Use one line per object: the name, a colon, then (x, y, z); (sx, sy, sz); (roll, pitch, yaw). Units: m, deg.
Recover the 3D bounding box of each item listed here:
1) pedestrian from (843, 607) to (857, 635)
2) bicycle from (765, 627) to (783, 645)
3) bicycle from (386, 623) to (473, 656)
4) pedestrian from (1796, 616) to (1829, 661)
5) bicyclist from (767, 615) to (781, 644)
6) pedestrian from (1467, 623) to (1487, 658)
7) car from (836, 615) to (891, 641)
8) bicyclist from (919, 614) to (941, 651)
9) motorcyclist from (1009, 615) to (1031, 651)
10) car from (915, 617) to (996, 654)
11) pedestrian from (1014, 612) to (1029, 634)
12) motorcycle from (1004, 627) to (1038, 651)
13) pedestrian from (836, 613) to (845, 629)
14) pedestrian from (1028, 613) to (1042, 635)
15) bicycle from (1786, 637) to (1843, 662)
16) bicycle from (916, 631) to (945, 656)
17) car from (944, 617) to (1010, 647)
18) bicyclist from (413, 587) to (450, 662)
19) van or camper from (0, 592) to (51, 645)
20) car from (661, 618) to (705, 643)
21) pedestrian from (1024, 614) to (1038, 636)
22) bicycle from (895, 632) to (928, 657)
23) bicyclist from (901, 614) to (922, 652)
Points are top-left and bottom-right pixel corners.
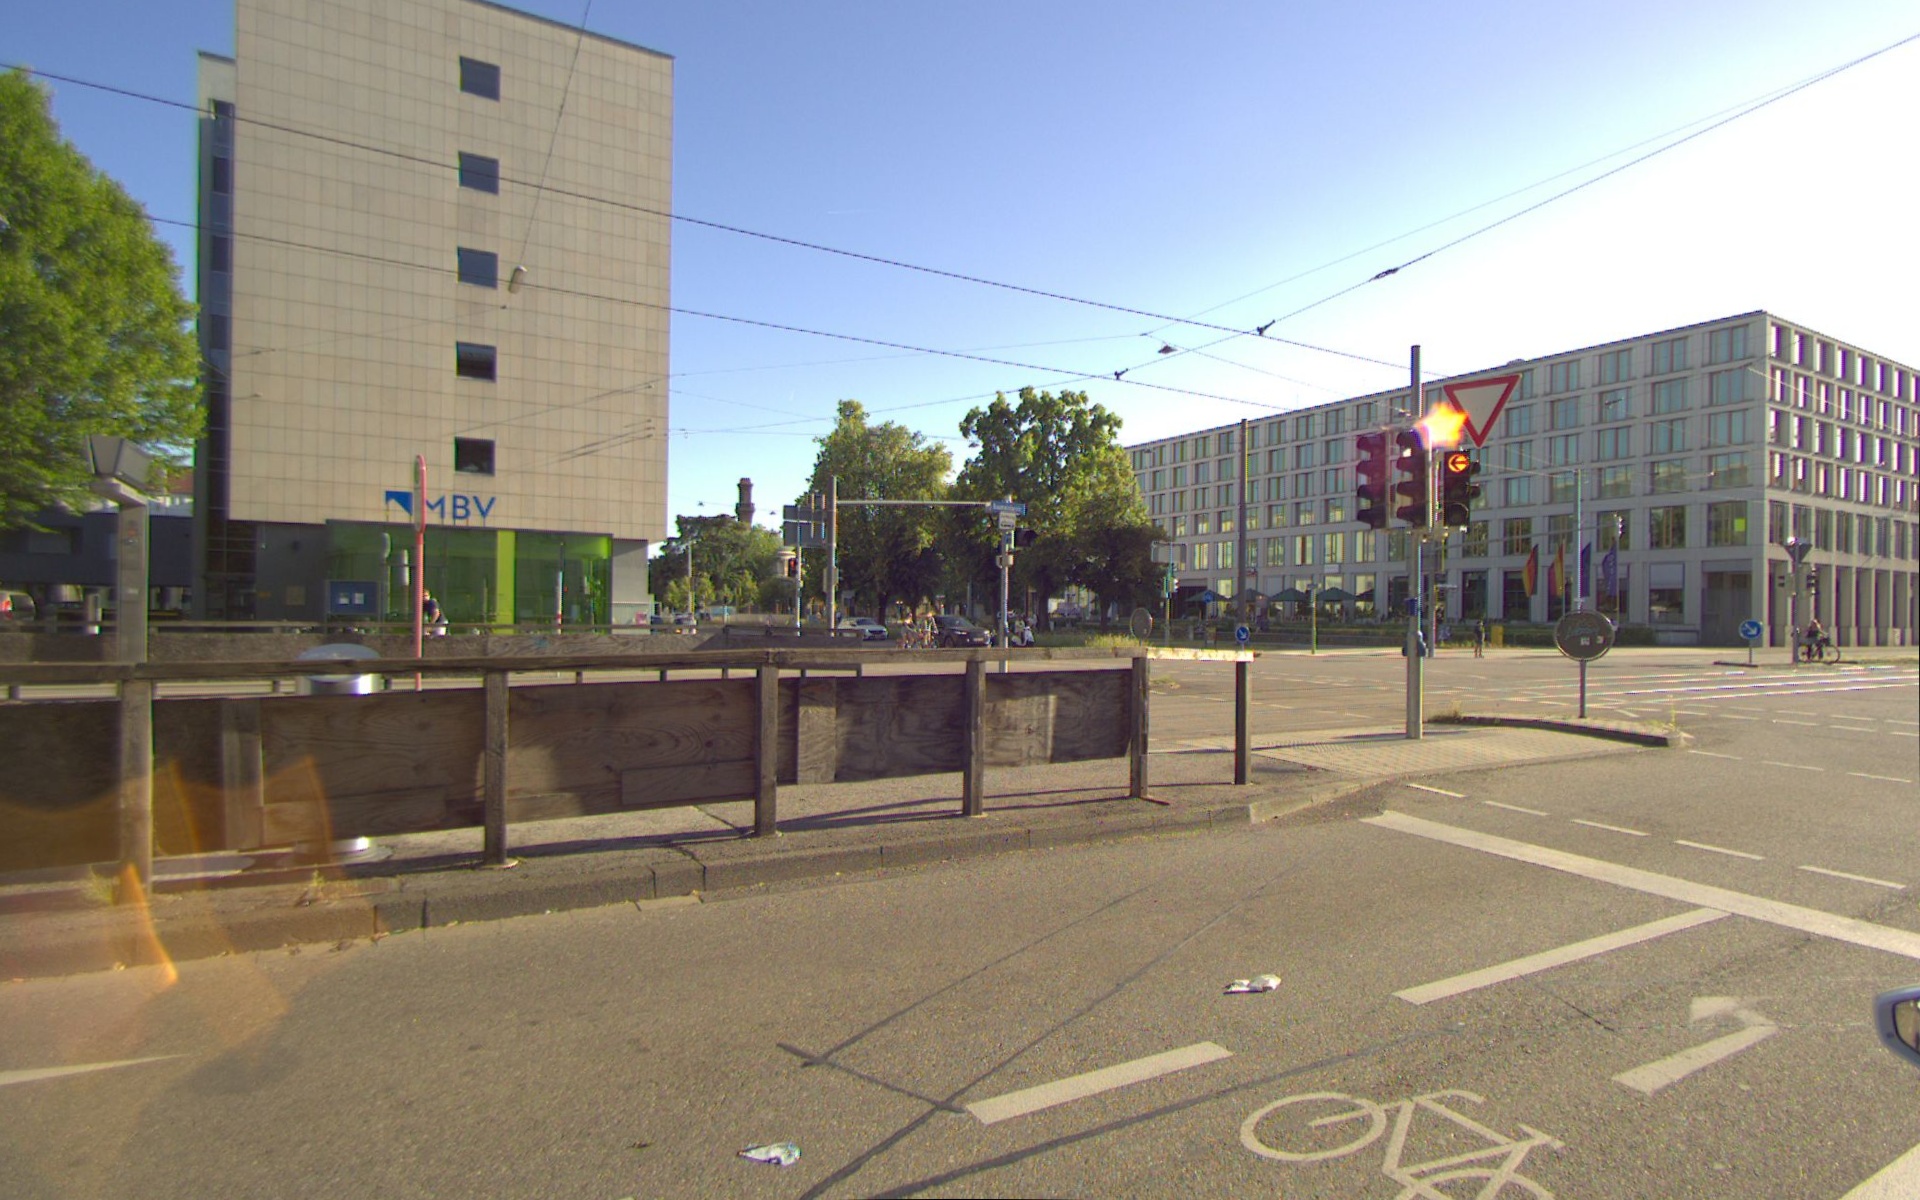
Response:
pedestrian: (-8.152, 1.555, 74.137); (0.772, 2.040, 0.747); (1, -1, -31)
bicycle: (-10.872, 2.086, 58.609); (0.576, 1.032, 1.666); (1, -1, -27)
bicycle: (-12.903, 0.958, 24.458); (1.831, 0.798, 0.532); (1, -1, -30)
pedestrian: (30.880, 1.387, 36.381); (0.562, 1.616, 0.744); (1, -1, -3)
bicyclist: (-10.853, 1.707, 58.589); (0.576, 1.658, 0.890); (1, -1, -27)
pedestrian: (25.105, 1.970, 48.762); (0.597, 1.703, 0.602); (1, -1, -22)
car: (-6.146, 1.727, 63.479); (1.975, 1.472, 4.179); (2, 0, -28)
bicyclist: (-1.274, 1.371, 42.416); (0.576, 1.563, 0.890); (1, -1, -27)
motorcyclist: (2.806, 1.536, 46.986); (0.624, 1.601, 0.812); (-3, 1, -28)
car: (-0.236, 1.546, 44.596); (1.925, 1.561, 3.969); (2, -2, -29)
pedestrian: (4.962, 1.876, 81.014); (0.858, 1.738, 0.737); (2, 0, -26)
motorcycle: (2.846, 1.818, 46.955); (0.624, 1.030, 1.972); (-3, 1, -28)
pedestrian: (-13.598, 2.388, 114.618); (0.615, 1.829, 0.769); (2, 0, 39)
pedestrian: (5.979, 1.904, 80.399); (0.858, 1.738, 0.737); (2, 0, -26)
bicycle: (30.875, 1.781, 36.338); (0.562, 0.834, 1.718); (1, -1, -2)
bicycle: (-1.268, 1.825, 42.380); (0.576, 1.032, 1.666); (1, -1, -27)
car: (0.835, 1.660, 52.496); (1.674, 1.506, 3.719); (1, -1, -33)
bicyclist: (-12.881, 0.599, 24.466); (0.762, 1.784, 0.532); (1, -1, -30)
van or camper: (-27.891, 0.427, 27.568); (3.954, 1.425, 1.954); (4, -3, -30)
car: (-18.682, 2.032, 67.725); (1.975, 1.472, 4.179); (2, 0, -28)
pedestrian: (5.866, 2.071, 82.629); (0.858, 1.738, 0.737); (2, 0, -26)
bicycle: (-2.039, 1.843, 42.019); (0.577, 1.032, 1.806); (1, -3, -31)
bicyclist: (-2.034, 1.365, 42.016); (0.577, 1.563, 0.833); (1, -2, -32)
